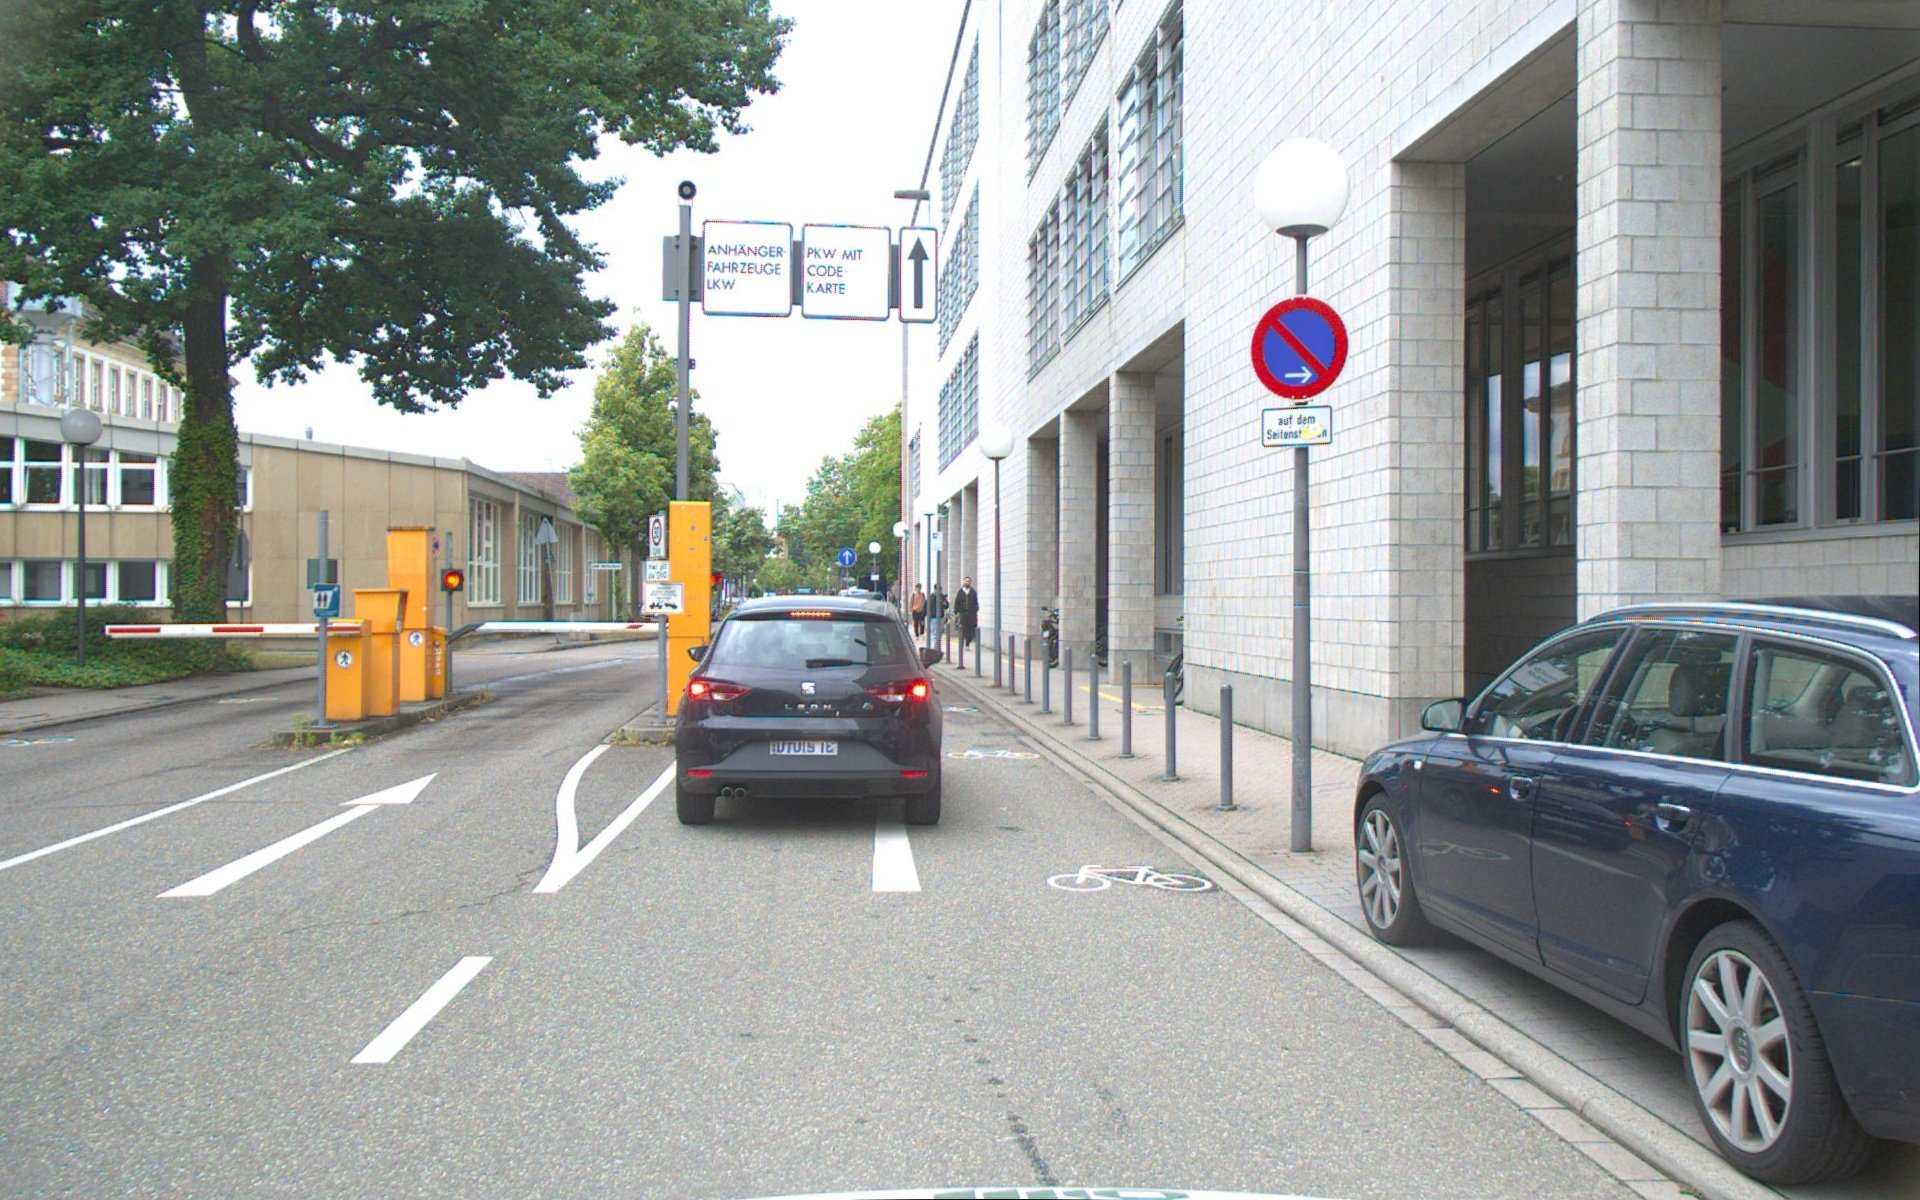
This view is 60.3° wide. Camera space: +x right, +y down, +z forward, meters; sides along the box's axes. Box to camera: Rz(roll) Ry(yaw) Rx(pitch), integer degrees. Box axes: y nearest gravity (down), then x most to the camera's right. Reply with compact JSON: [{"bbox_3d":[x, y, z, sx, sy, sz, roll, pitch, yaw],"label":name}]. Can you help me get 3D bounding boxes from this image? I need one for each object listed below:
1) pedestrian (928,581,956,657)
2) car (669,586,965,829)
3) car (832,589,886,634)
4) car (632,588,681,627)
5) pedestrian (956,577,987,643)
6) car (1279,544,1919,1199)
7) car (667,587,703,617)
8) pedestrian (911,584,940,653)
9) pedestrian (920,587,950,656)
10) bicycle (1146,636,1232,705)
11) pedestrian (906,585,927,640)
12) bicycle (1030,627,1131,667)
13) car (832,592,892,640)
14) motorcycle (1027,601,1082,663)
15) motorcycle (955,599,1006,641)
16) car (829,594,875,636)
[{"bbox_3d":[-0.413,0.428,38.262,0.599,1.744,0.574,-1,0,-4],"label":"pedestrian"},{"bbox_3d":[-1.042,0.635,11.942,1.748,1.444,4.125,1,0,-6],"label":"car"},{"bbox_3d":[-3.983,0.411,64.573,1.955,1.651,4.423,-1,0,-5],"label":"car"},{"bbox_3d":[-13.038,0.305,71.214,1.736,1.629,3.995,1,0,-6],"label":"car"},{"bbox_3d":[0.306,0.269,44.585,0.714,1.728,0.587,1,2,-10],"label":"pedestrian"},{"bbox_3d":[2.779,0.628,5.921,1.955,1.477,4.917,0,0,-5],"label":"car"},{"bbox_3d":[-15.571,0.088,93.843,1.736,1.629,3.995,1,0,-5],"label":"car"},{"bbox_3d":[-0.870,0.463,41.713,0.683,1.744,0.489,1,0,-5],"label":"pedestrian"},{"bbox_3d":[-0.635,0.545,42.305,0.676,1.728,0.587,1,2,-7],"label":"pedestrian"},{"bbox_3d":[3.042,0.906,21.817,0.453,0.764,2.294,-4,-1,24],"label":"bicycle"},{"bbox_3d":[-1.412,0.401,53.734,0.682,1.744,0.489,1,0,-1],"label":"pedestrian"},{"bbox_3d":[2.317,0.911,31.891,1.861,0.711,0.492,1,2,-9],"label":"bicycle"},{"bbox_3d":[-3.591,0.576,60.065,1.955,1.651,4.422,-1,0,-6],"label":"car"},{"bbox_3d":[2.008,0.658,34.985,0.554,1.168,2.218,2,2,19],"label":"motorcycle"},{"bbox_3d":[0.653,0.620,51.567,0.743,1.168,2.664,2,2,19],"label":"motorcycle"},{"bbox_3d":[-5.027,0.667,76.327,1.955,1.813,4.423,-1,0,-5],"label":"car"}]
